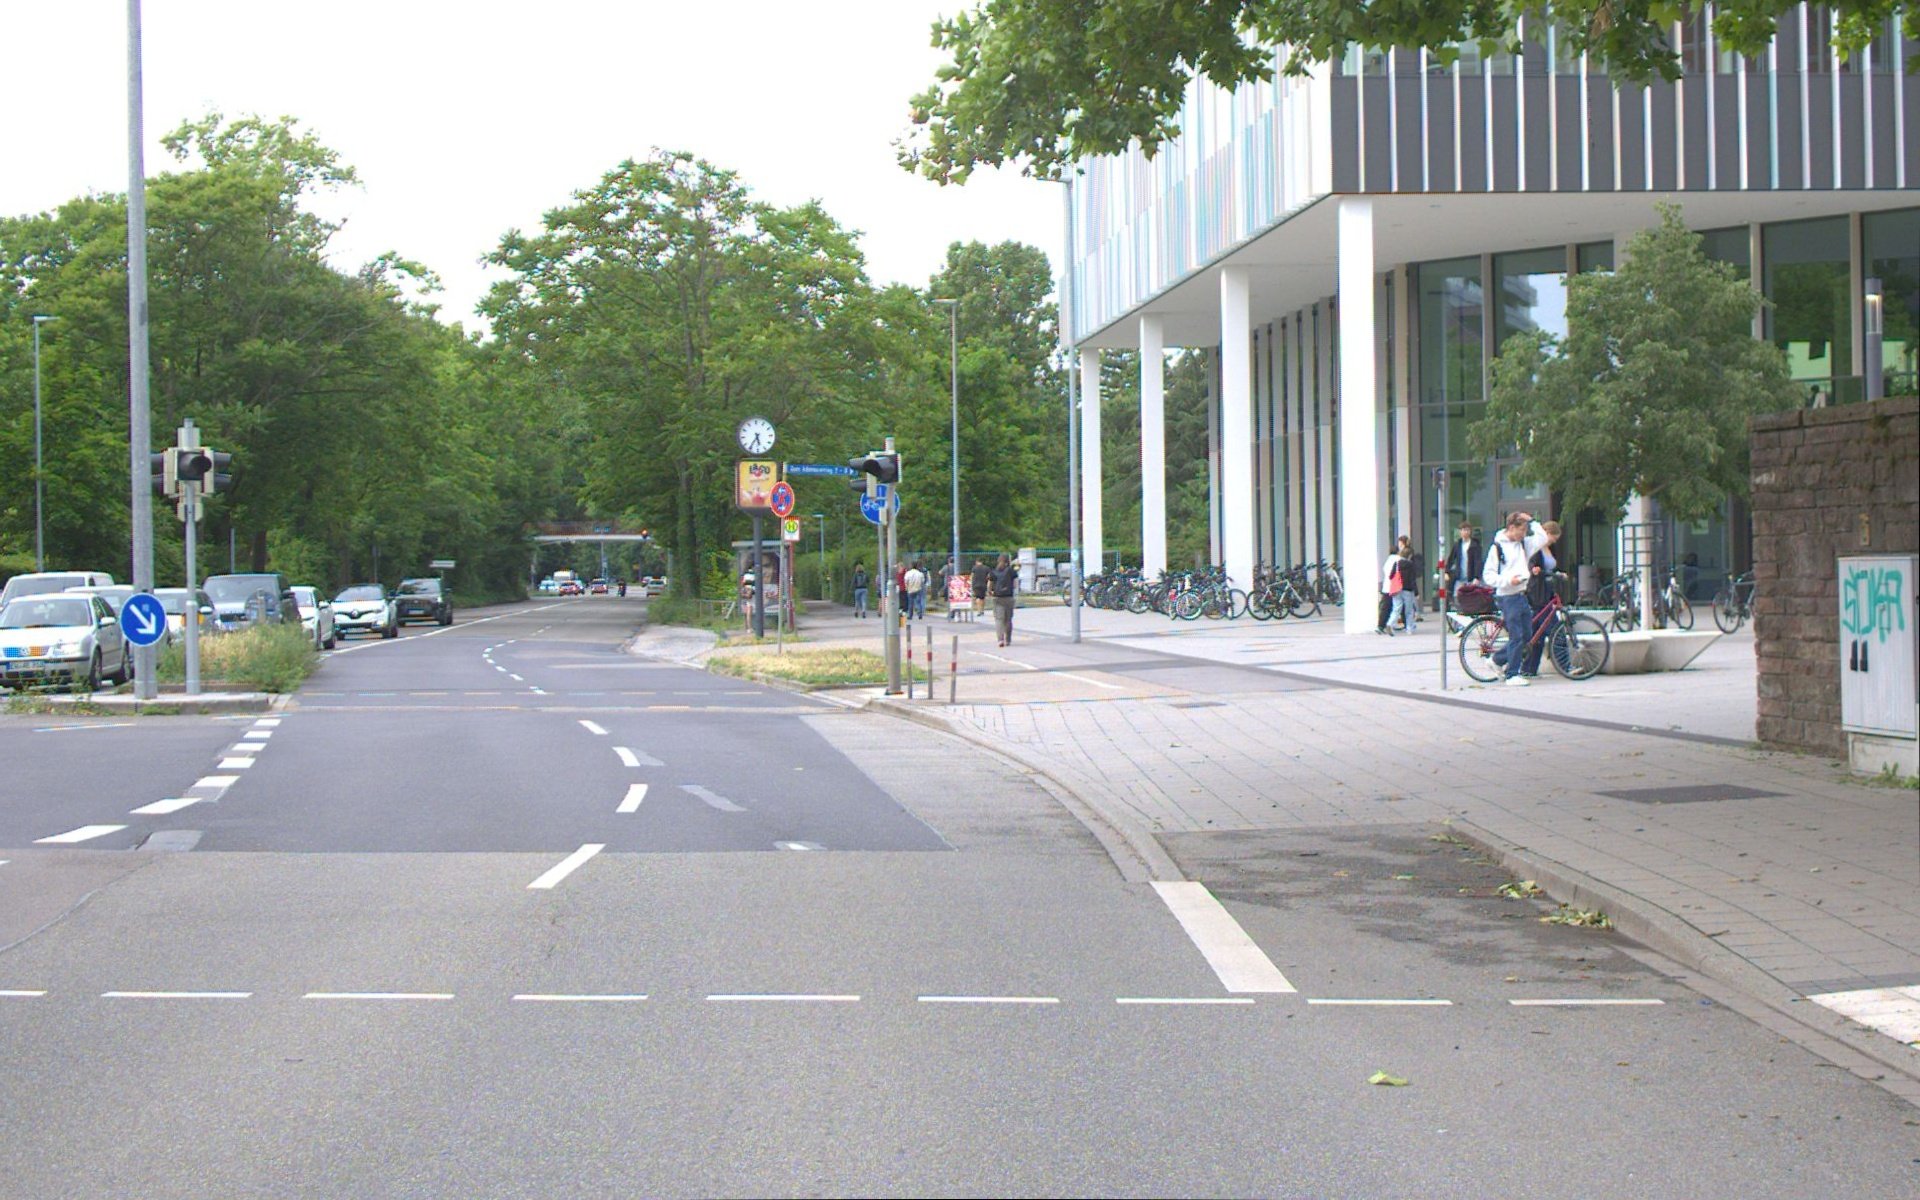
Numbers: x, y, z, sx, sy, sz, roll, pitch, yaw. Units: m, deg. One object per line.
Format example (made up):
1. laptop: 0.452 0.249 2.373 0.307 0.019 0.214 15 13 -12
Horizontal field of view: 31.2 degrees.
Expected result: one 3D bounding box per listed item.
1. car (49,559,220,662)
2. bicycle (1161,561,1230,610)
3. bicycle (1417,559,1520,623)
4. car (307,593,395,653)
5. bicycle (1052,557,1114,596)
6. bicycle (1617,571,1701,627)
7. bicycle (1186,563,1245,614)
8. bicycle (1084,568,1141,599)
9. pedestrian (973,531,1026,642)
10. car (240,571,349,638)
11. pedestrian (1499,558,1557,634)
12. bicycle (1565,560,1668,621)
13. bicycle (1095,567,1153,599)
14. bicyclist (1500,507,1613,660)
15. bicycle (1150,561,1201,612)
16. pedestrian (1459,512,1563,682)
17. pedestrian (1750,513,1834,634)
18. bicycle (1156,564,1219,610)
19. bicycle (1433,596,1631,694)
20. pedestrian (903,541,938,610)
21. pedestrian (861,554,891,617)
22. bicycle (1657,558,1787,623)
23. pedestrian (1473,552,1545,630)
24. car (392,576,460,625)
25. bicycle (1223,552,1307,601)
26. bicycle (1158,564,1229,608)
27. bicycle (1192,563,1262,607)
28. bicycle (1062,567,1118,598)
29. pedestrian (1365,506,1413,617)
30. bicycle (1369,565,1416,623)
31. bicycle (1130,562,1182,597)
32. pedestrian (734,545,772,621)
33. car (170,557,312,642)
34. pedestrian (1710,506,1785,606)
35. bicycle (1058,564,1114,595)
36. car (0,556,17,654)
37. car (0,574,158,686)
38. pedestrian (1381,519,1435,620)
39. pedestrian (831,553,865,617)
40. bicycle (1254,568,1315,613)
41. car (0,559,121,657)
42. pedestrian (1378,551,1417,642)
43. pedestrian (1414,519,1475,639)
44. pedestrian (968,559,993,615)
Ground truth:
1. car: -14.053 0.150 58.757 1.957 1.578 4.256 -2 1 -2
2. bicycle: 5.847 -0.361 85.284 1.644 1.087 0.572 -4 0 4
3. bicycle: 9.251 -0.163 62.511 0.736 1.112 2.178 -1 1 43
4. car: -17.176 0.623 97.055 1.993 1.541 4.180 -2 1 -4
5. bicycle: 3.812 -0.729 106.611 1.794 1.078 0.626 -3 1 -6
6. bicycle: 11.939 -0.019 58.687 0.671 0.896 1.842 -1 1 37
7. bicycle: 5.692 -0.256 76.706 0.607 1.076 1.963 -3 1 -16
8. bicycle: 4.536 -0.491 102.091 1.606 0.872 0.556 -2 1 -4
9. pedestrian: 0.732 -0.254 64.075 0.842 2.007 0.894 -3 1 -3
10. car: -15.297 0.070 79.248 1.903 1.460 4.912 1 1 -5
11. pedestrian: 9.052 -0.065 54.767 0.892 1.189 0.845 -1 1 10
12. bicycle: 11.328 -0.168 59.305 0.774 0.998 1.955 -1 1 44
13. bicycle: 4.808 -0.490 100.918 1.606 0.872 0.556 -2 1 -4
14. bicyclist: 6.498 -0.185 37.463 0.968 1.640 0.734 1 0 35
15. bicycle: 4.977 -0.315 79.467 0.635 1.136 2.201 -4 1 -9
16. pedestrian: 5.885 -0.037 36.697 0.782 1.789 0.788 -1 1 39
17. pedestrian: 12.811 -0.412 52.969 0.843 1.829 0.894 -1 1 -36
18. bicycle: 5.501 -0.323 83.103 1.400 1.040 0.559 -3 1 -4
19. bicycle: 6.252 0.477 37.592 1.973 1.014 0.794 1 1 35
20. pedestrian: -1.168 -0.724 102.036 0.925 2.007 1.040 -1 0 -4
21. pedestrian: -2.714 -0.461 110.646 0.823 2.007 0.720 -1 0 -9
22. bicycle: 12.607 -0.157 56.859 2.185 1.002 0.782 -1 -1 -34
23. pedestrian: 8.649 -0.143 54.139 0.844 1.202 0.893 -1 1 30
24. car: -18.301 0.002 117.965 1.902 1.588 4.517 -1 1 -4
25. bicycle: 7.575 -0.580 85.486 1.985 1.140 0.647 -2 1 37
26. bicycle: 5.685 -0.342 83.686 1.606 0.979 0.556 -4 1 -4
27. bicycle: 6.404 -0.358 82.337 1.606 0.932 0.568 -3 1 6
28. bicycle: 3.919 -0.528 103.657 1.606 0.872 0.556 -2 1 -4
29. pedestrian: 7.861 -0.698 62.990 0.644 2.007 0.656 -1 0 -13
30. bicycle: 8.125 -0.120 64.586 0.638 1.058 1.840 1 1 0
31. bicycle: 5.125 -0.539 90.045 1.283 0.872 0.556 -2 1 -4
32. pedestrian: -5.706 -0.470 94.761 0.912 2.006 0.854 -3 3 -5
33. car: -14.874 -0.035 71.338 1.993 1.681 4.948 0 1 -1
34. pedestrian: 16.385 -0.915 71.520 1.183 2.055 1.133 1 0 31
35. bicycle: 3.829 -0.617 104.611 1.606 0.872 0.556 -2 1 -4
36. car: -16.822 0.122 55.393 1.993 1.614 4.000 -1 1 2
37. car: -13.278 0.407 50.159 1.993 1.524 4.274 -1 1 2
38. pedestrian: 9.038 -0.615 69.339 0.891 2.007 0.845 -1 0 -4
39. pedestrian: -3.605 -0.482 110.481 0.925 2.007 1.040 -1 0 -9
40. bicycle: 7.084 -0.213 74.969 1.484 0.926 0.440 -3 3 -43
41. car: -17.740 0.124 67.160 1.771 1.841 4.489 1 1 -3
42. pedestrian: 7.914 -0.066 62.182 0.675 1.635 0.653 -1 0 8
43. pedestrian: 8.171 -0.356 57.995 0.842 2.007 0.894 -1 0 -3
44. pedestrian: 0.610 -0.392 102.705 0.729 1.678 0.747 1 0 -1
